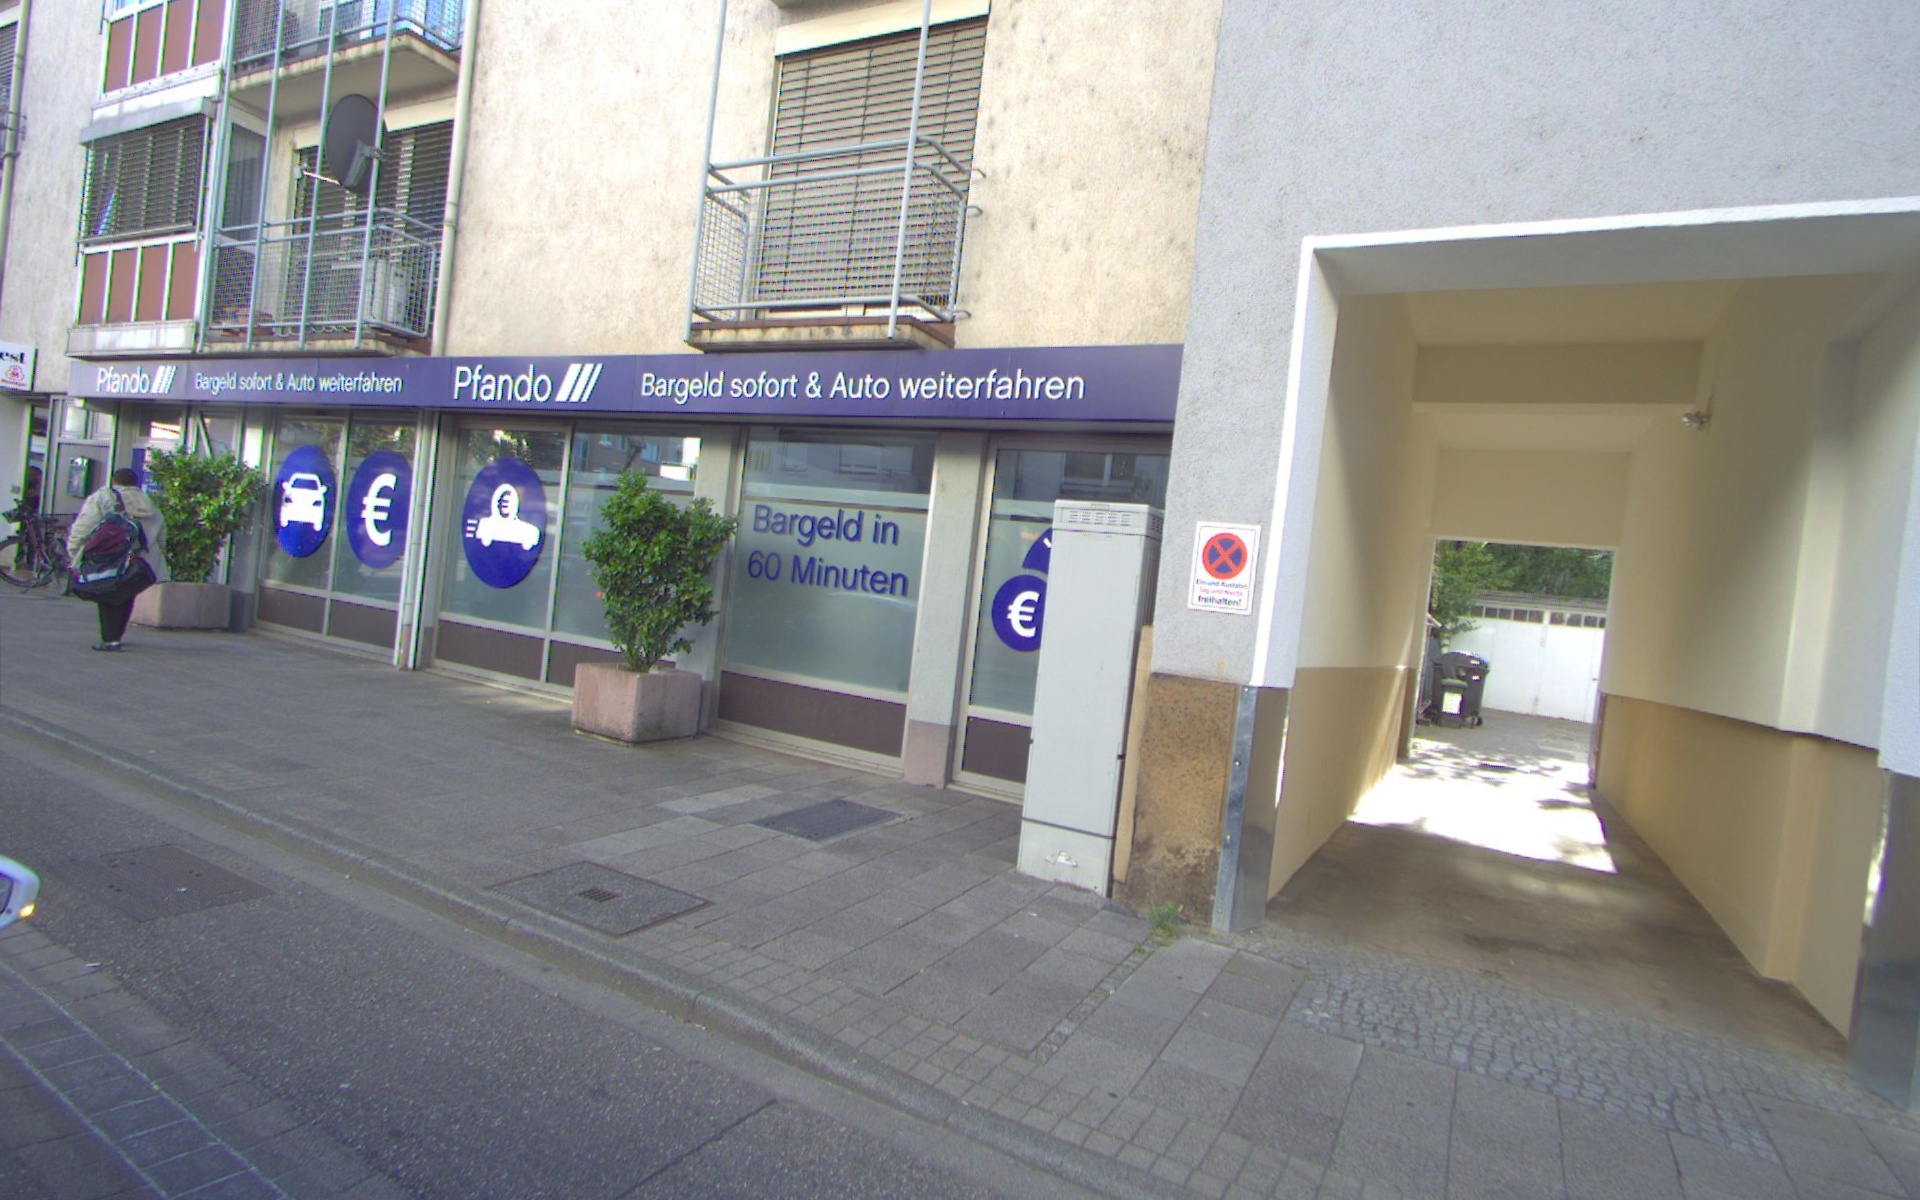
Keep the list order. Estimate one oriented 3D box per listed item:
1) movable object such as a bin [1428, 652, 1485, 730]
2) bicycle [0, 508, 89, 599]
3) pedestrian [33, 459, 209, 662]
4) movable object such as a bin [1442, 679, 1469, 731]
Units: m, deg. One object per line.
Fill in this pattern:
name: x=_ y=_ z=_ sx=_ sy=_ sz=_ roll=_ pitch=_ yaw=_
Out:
movable object such as a bin: x=9.910 y=1.792 z=20.073 sx=0.873 sy=1.411 sz=0.758 roll=7 pitch=2 yaw=28
bicycle: x=-11.871 y=-0.612 z=12.870 sx=1.678 sy=1.010 sz=0.543 roll=6 pitch=-1 yaw=32
pedestrian: x=-7.256 y=-0.326 z=8.717 sx=0.738 sy=1.611 sz=0.827 roll=6 pitch=-1 yaw=31
movable object such as a bin: x=9.525 y=2.015 z=19.330 sx=0.365 sy=0.920 sz=0.420 roll=7 pitch=2 yaw=28
